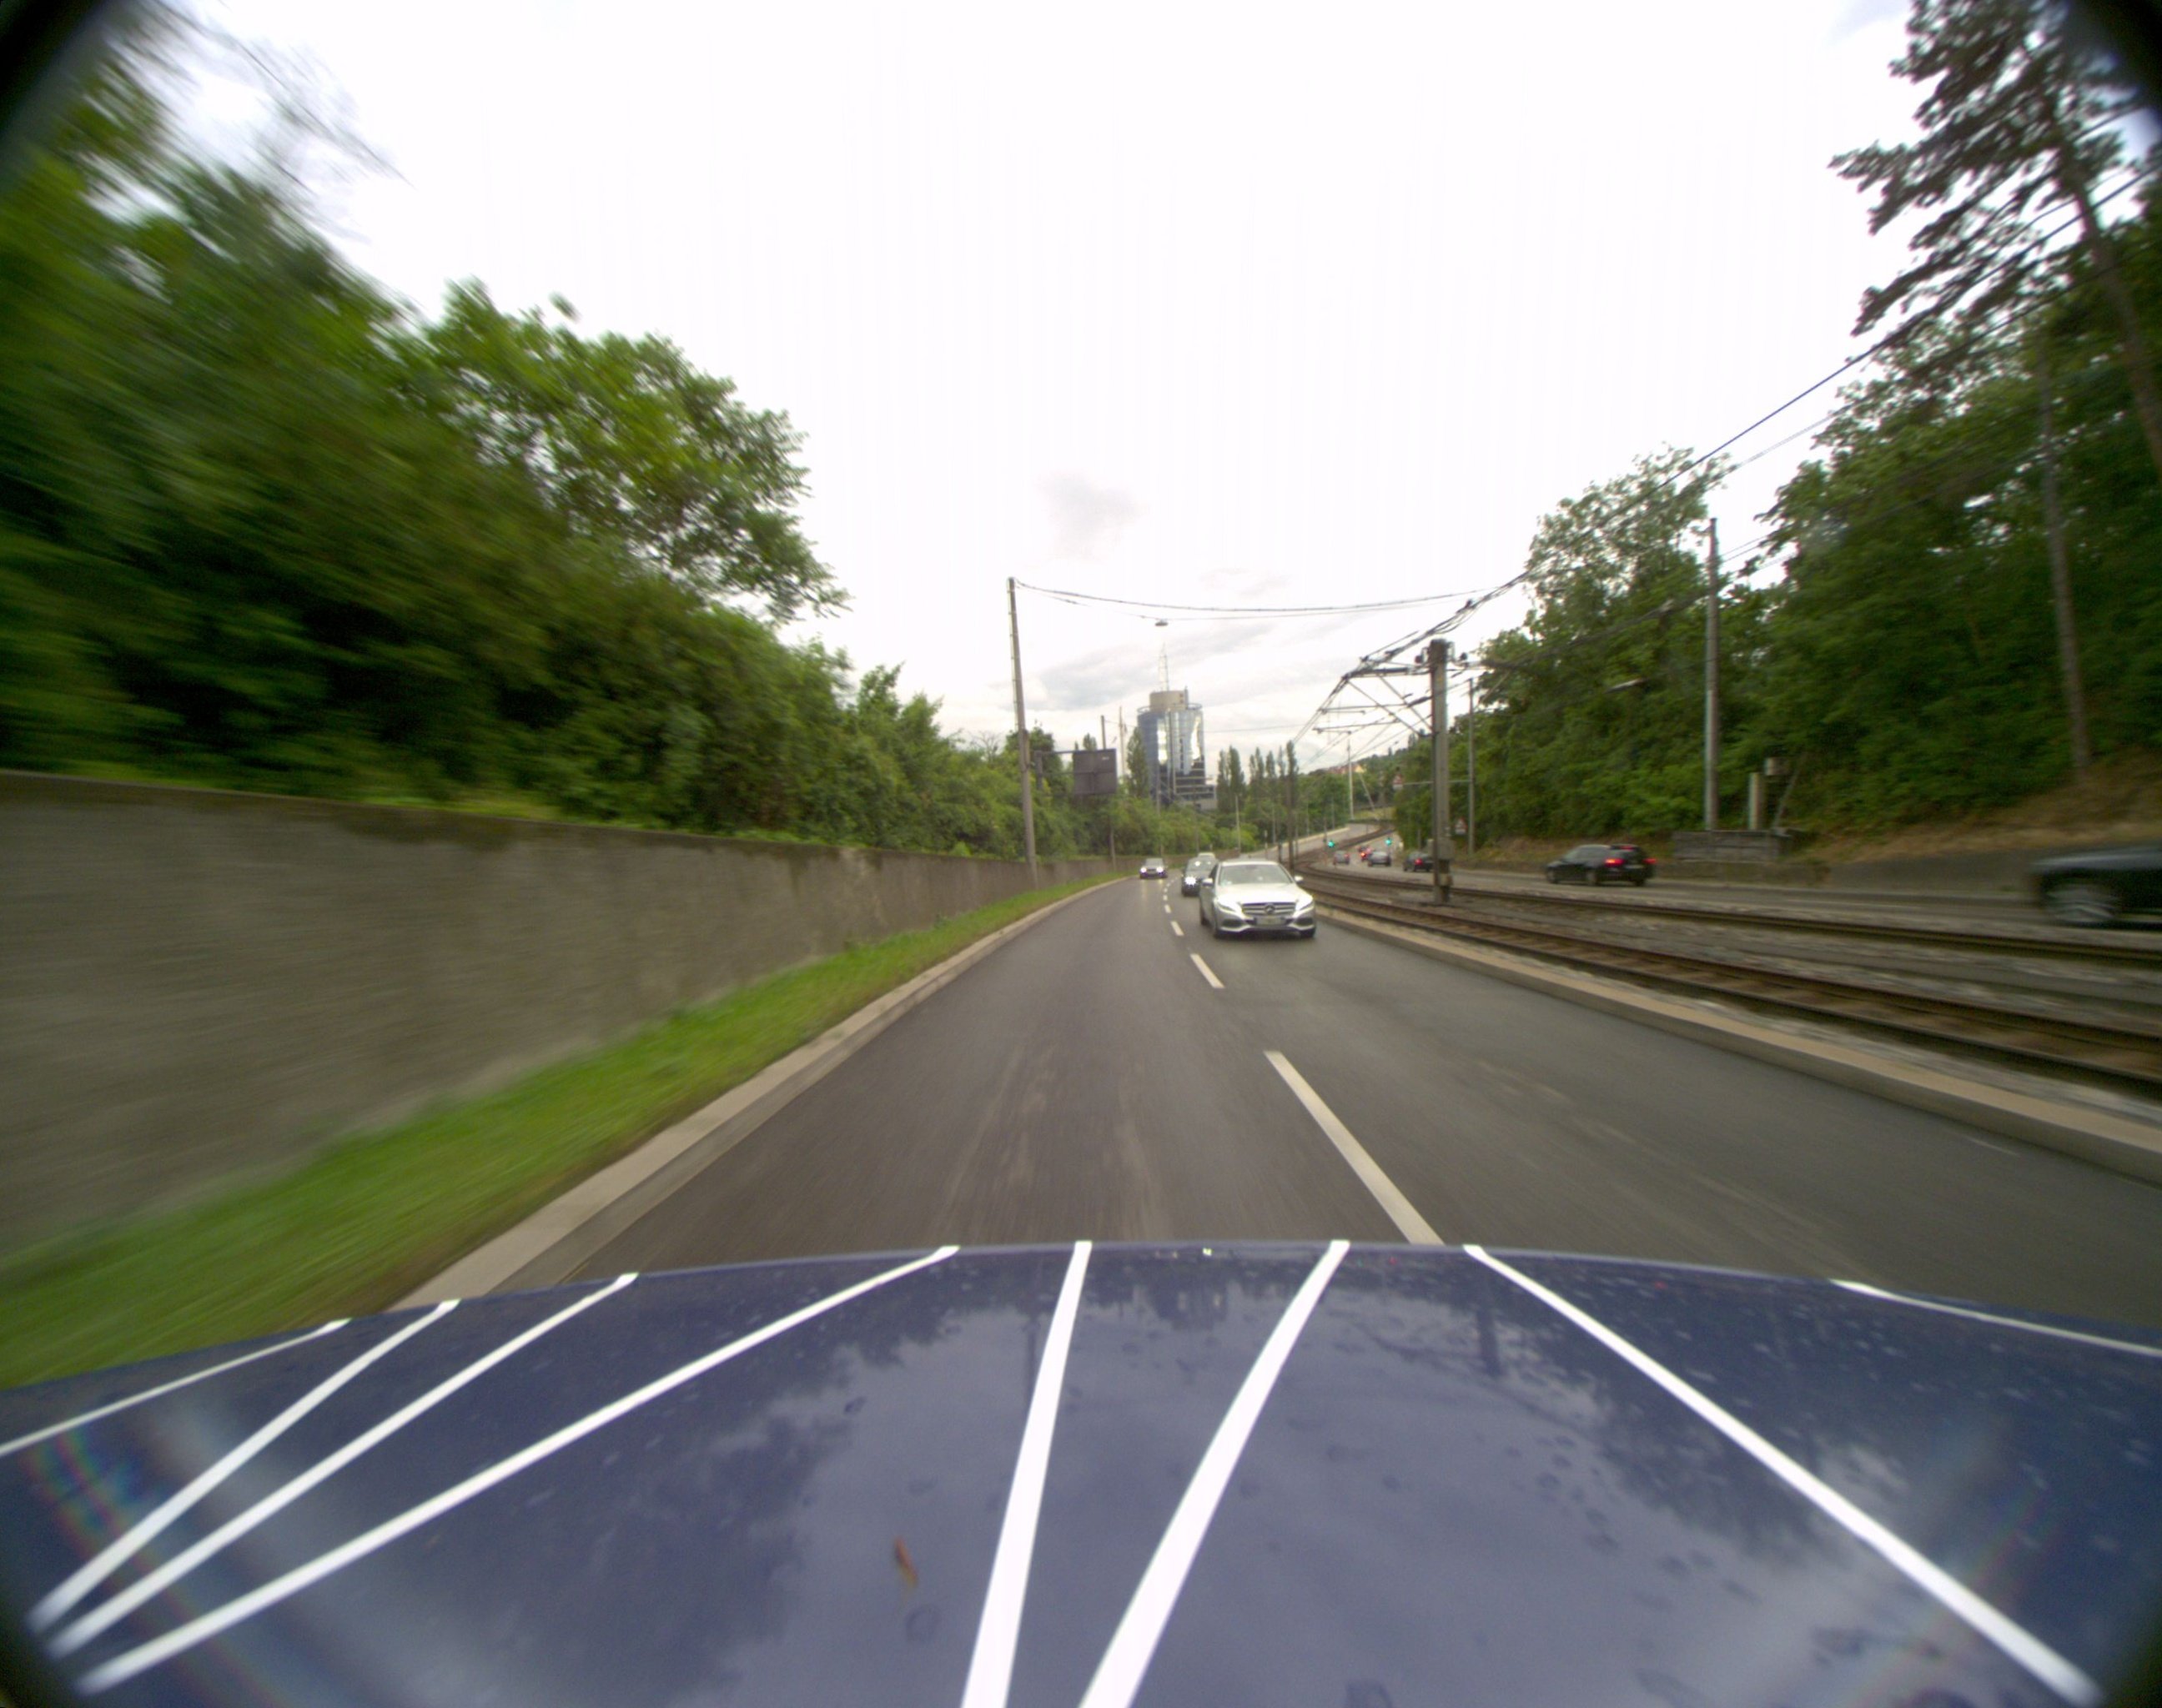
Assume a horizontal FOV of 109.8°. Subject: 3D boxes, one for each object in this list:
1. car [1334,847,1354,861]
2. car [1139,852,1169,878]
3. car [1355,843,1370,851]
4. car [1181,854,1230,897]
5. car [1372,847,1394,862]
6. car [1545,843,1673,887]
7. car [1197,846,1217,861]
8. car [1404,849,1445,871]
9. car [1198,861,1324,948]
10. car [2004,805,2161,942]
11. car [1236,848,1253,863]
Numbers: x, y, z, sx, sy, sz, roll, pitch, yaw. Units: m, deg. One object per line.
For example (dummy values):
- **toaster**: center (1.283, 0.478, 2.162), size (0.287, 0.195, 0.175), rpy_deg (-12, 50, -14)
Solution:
- **car**: center (28.912, -0.012, 83.434), size (1.907, 1.449, 4.469), rpy_deg (-1, 0, 20)
- **car**: center (5.093, 0.742, 52.948), size (1.809, 1.501, 4.000), rpy_deg (-4, 2, 8)
- **car**: center (51.279, -1.251, 138.306), size (2.211, 1.449, 4.469), rpy_deg (-2, 0, 23)
- **car**: center (4.855, 0.796, 29.948), size (1.728, 1.462, 3.890), rpy_deg (-3, 0, 8)
- **car**: center (28.669, 0.021, 72.174), size (1.803, 1.415, 4.469), rpy_deg (0, 0, 21)
- **car**: center (18.948, 0.362, 27.530), size (1.828, 1.462, 4.415), rpy_deg (-1, 0, 4)
- **car**: center (15.924, -0.042, 95.915), size (1.807, 1.501, 4.003), rpy_deg (-3, 2, 20)
- **car**: center (23.094, 0.361, 51.168), size (1.896, 1.373, 4.458), rpy_deg (-1, 0, 16)
- **car**: center (3.429, 0.899, 15.255), size (1.860, 1.395, 4.316), rpy_deg (-1, 0, 5)
- **car**: center (15.557, 0.224, 9.271), size (2.240, 1.820, 5.136), rpy_deg (-2, 0, -3)
- **car**: center (23.423, 0.224, 108.792), size (1.996, 2.002, 4.500), rpy_deg (-2, 0, 17)
